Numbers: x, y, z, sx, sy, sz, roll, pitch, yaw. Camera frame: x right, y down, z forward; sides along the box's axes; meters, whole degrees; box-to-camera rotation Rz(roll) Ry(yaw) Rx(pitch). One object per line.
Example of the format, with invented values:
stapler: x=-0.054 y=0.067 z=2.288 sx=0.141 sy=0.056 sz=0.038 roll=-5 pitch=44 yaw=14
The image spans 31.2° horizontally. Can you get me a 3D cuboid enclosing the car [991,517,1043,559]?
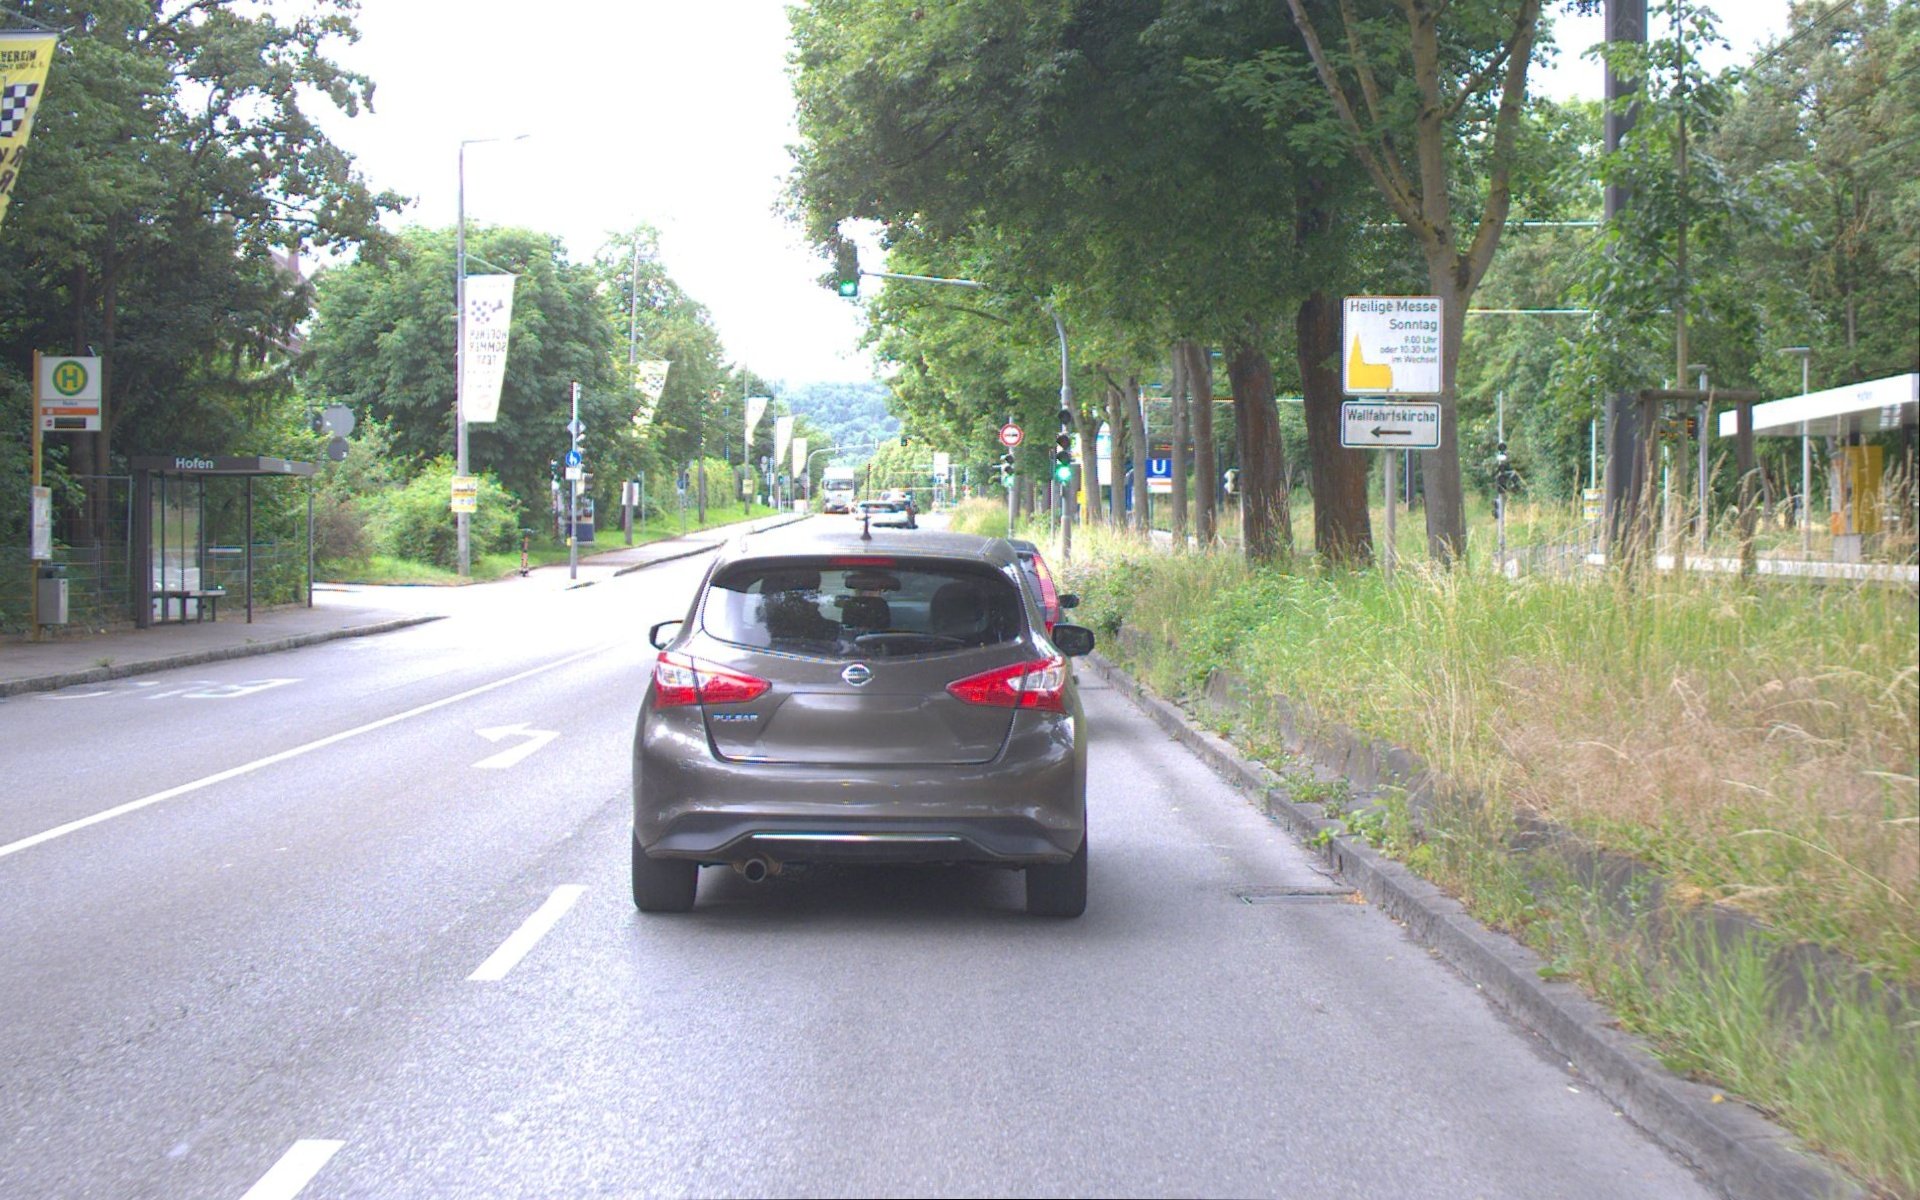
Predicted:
car: x=2.011 y=-2.215 z=121.818 sx=1.691 sy=1.436 sz=3.542 roll=1 pitch=1 yaw=-1

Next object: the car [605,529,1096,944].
car: x=-0.410 y=0.464 z=14.406 sx=1.783 sy=1.501 sz=3.696 roll=0 pitch=1 yaw=0

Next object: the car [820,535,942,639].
car: x=-1.142 y=-0.215 z=50.258 sx=1.691 sy=1.436 sz=3.542 roll=1 pitch=1 yaw=-1

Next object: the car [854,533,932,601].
car: x=-1.485 y=-0.749 z=76.733 sx=1.691 sy=1.436 sz=3.542 roll=1 pitch=1 yaw=-1

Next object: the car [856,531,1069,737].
car: x=-0.009 y=0.206 z=26.337 sx=1.502 sy=1.436 sz=3.542 roll=1 pitch=1 yaw=-1

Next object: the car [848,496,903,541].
car: x=-3.193 y=-3.067 z=130.277 sx=1.993 sy=1.568 sz=4.000 roll=2 pitch=1 yaw=-1

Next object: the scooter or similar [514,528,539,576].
scooter or similar: x=-11.531 y=-1.282 z=91.449 sx=0.462 sy=1.254 sz=1.426 roll=1 pitch=1 yaw=0

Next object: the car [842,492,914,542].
car: x=-2.375 y=-2.391 z=99.913 sx=1.993 sy=1.316 sz=4.000 roll=2 pitch=1 yaw=-1
